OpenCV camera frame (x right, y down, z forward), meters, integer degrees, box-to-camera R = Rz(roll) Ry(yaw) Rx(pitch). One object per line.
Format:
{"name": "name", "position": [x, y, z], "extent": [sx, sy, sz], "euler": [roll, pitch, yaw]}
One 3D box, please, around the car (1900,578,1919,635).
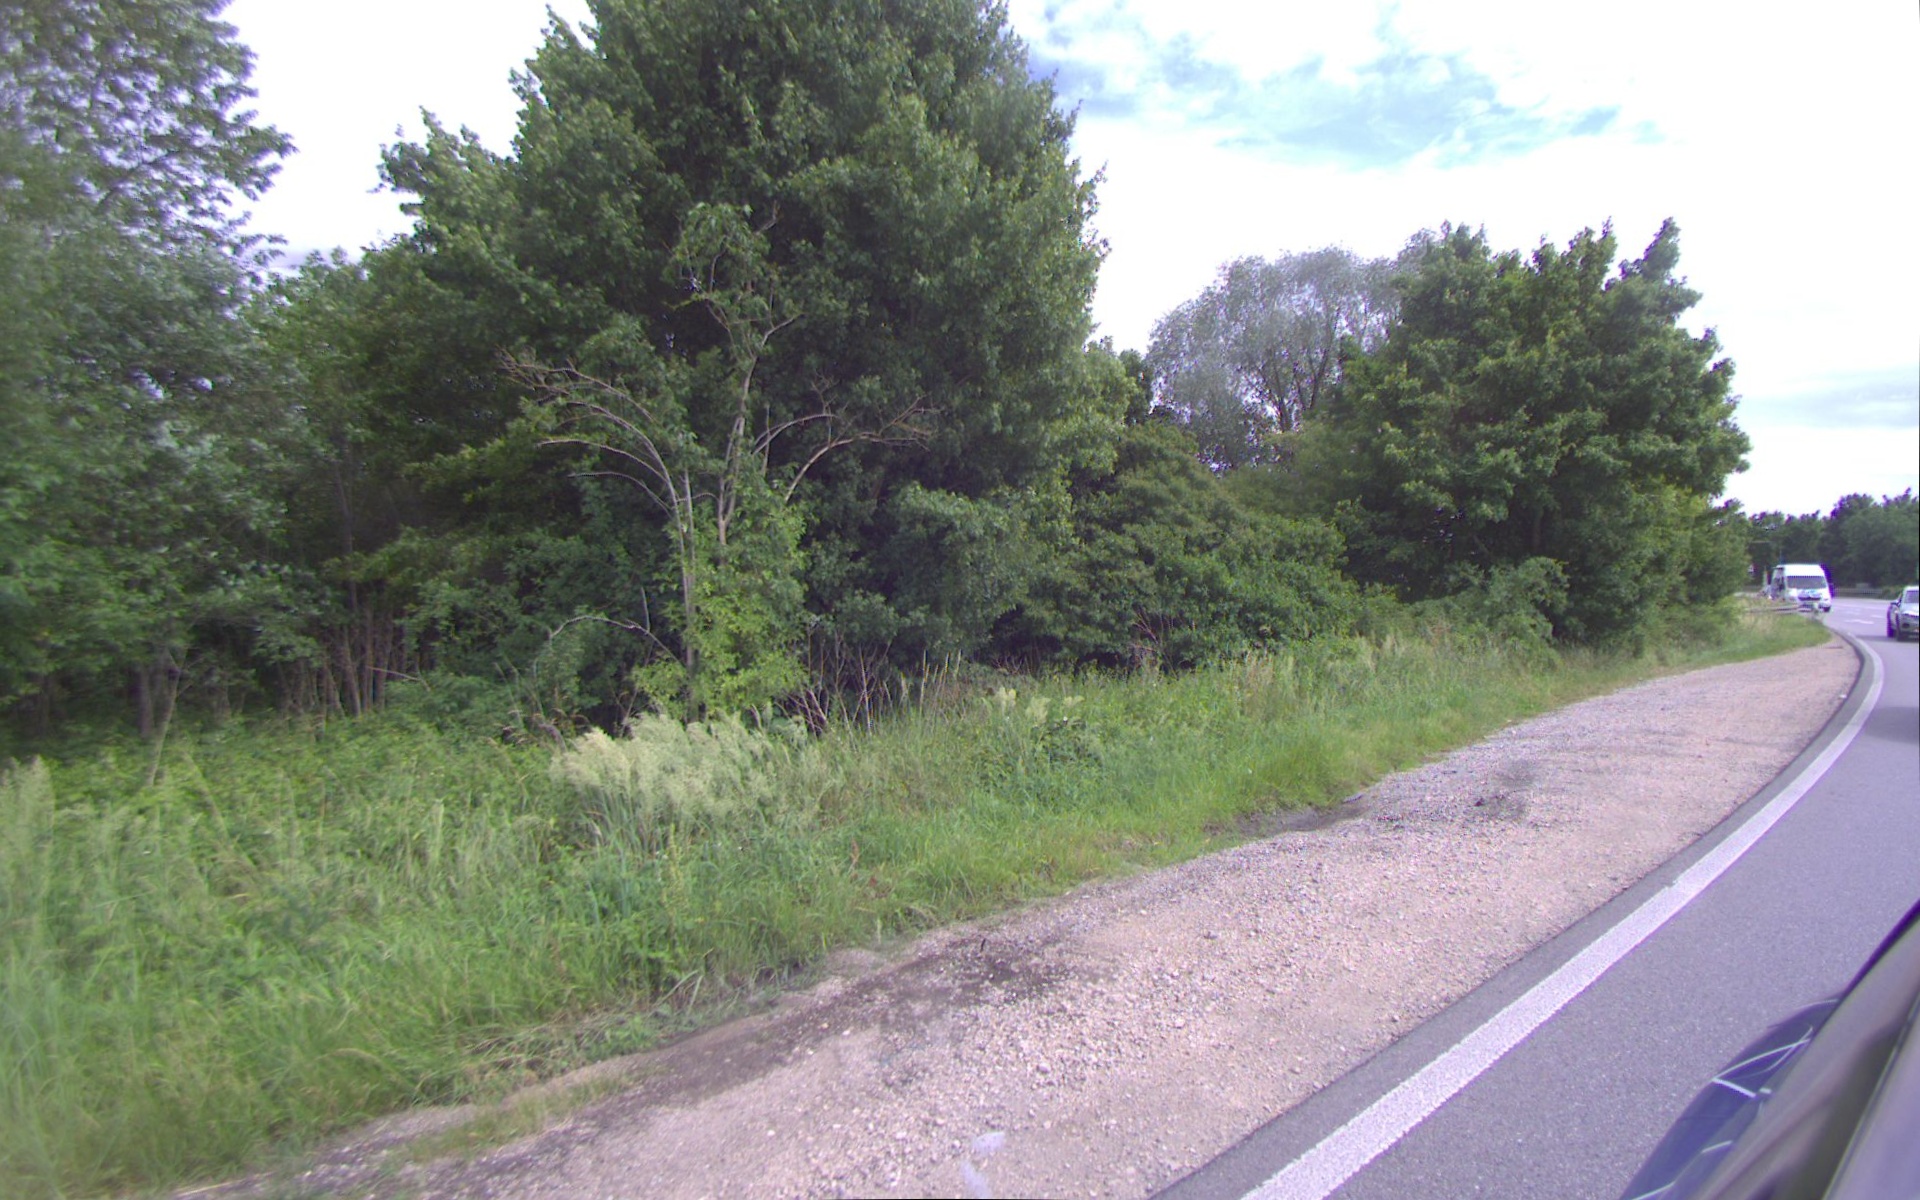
{"name": "car", "position": [29.648, 0.173, 30.184], "extent": [2.011, 1.633, 4.221], "euler": [0, 1, 39]}

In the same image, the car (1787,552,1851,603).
{"name": "car", "position": [49.266, -1.215, 58.142], "extent": [2.206, 2.704, 5.174], "euler": [-2, -1, 35]}
